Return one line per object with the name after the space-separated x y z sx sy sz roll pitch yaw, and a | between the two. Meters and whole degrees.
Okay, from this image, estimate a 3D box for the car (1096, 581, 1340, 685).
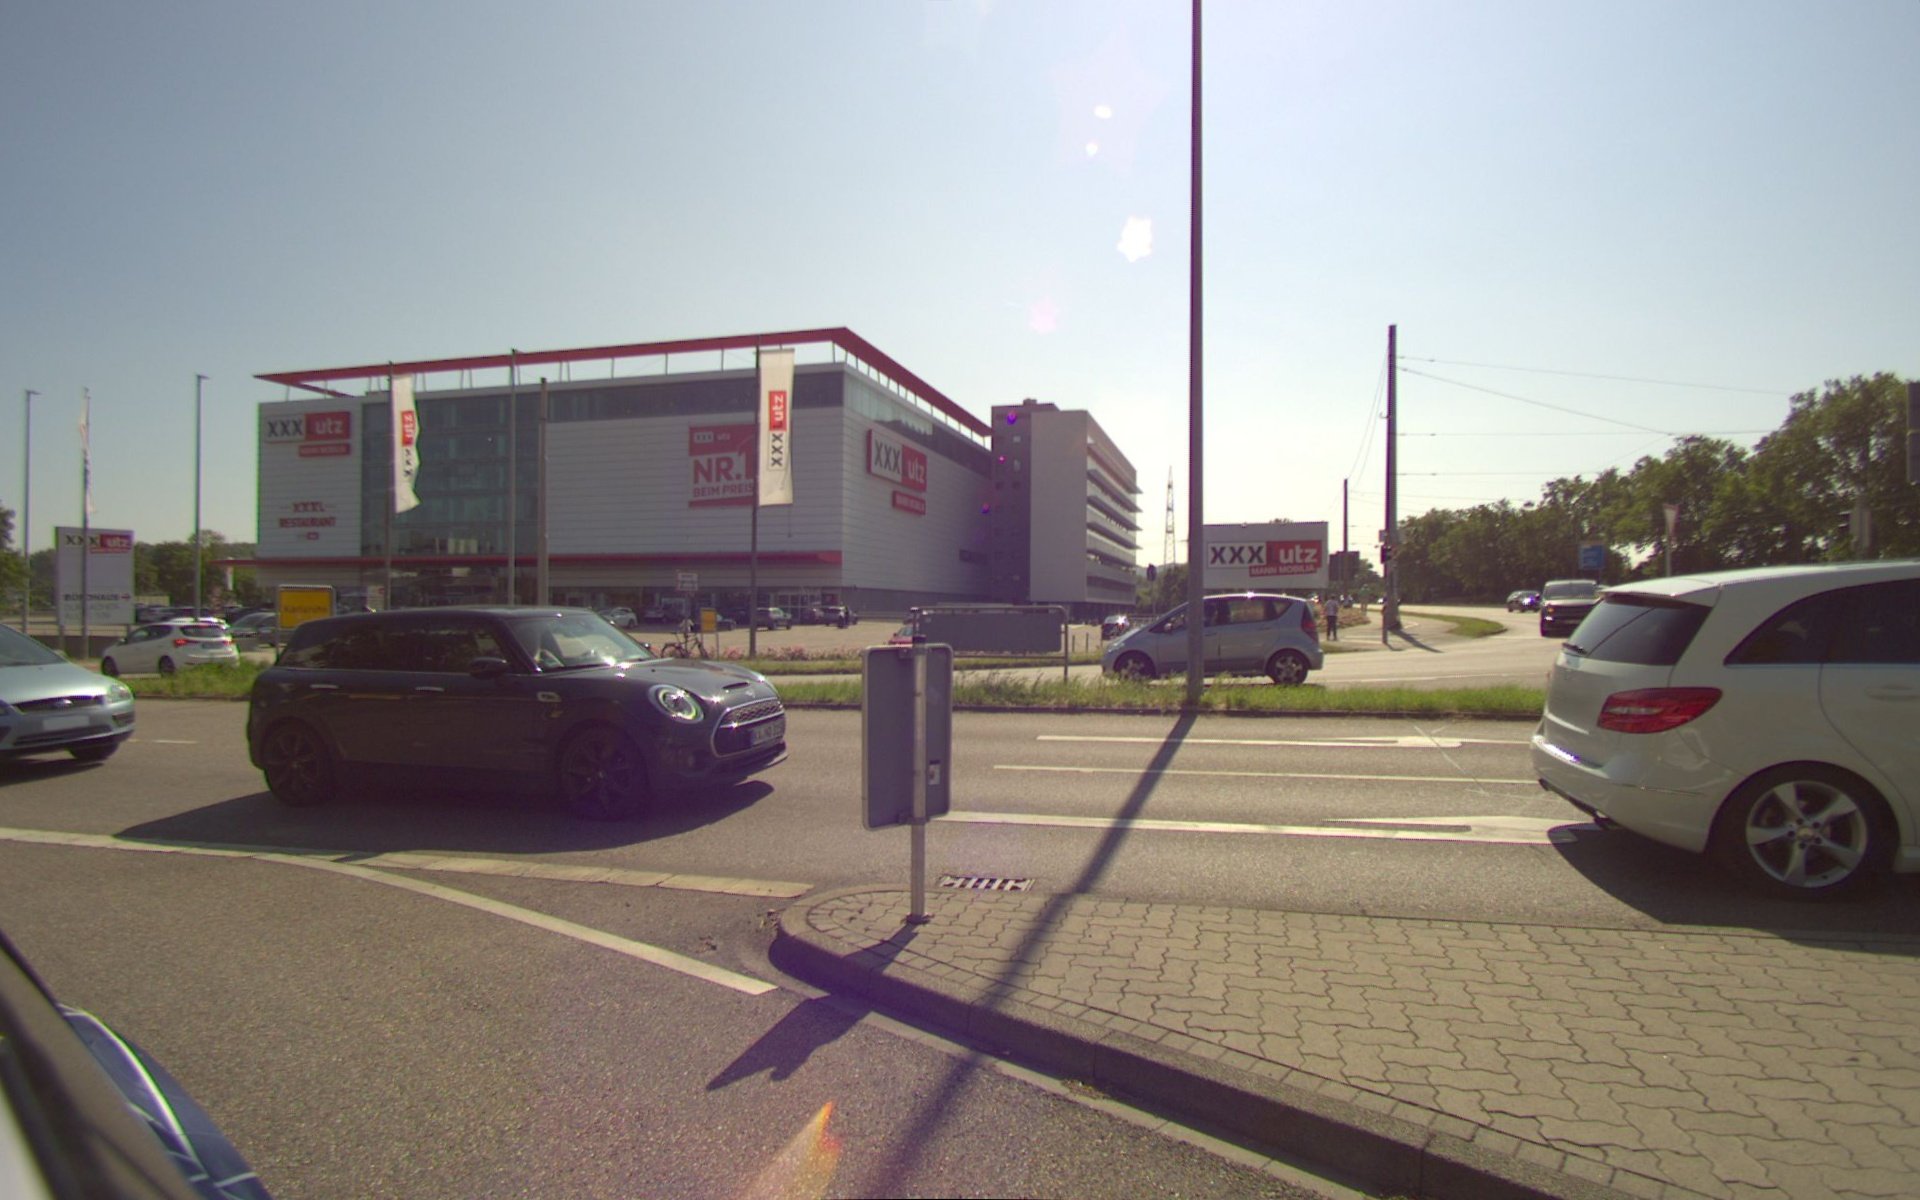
4.446 0.585 17.631 3.883 1.637 1.623 -2 -1 17 | car

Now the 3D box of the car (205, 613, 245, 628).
-68.005 1.905 93.662 1.284 1.340 2.809 0 0 15 | car

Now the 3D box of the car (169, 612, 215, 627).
-71.058 1.776 93.671 1.502 1.395 3.082 0 0 15 | car

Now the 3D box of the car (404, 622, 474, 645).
-34.443 2.190 67.006 1.502 1.340 4.481 0 0 15 | car

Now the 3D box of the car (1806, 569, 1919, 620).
28.340 -0.150 31.746 1.396 1.511 3.381 0 0 14 | car

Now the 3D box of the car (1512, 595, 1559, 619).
39.481 0.507 69.500 1.891 1.584 3.817 0 0 15 | car

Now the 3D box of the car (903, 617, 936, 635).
-3.331 2.154 84.316 1.736 1.340 3.656 0 0 15 | car

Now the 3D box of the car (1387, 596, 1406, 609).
57.406 0.329 133.070 1.617 1.637 3.768 -1 -1 14 | car

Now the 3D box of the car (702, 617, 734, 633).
-21.590 2.223 90.245 1.502 1.340 3.082 0 0 15 | car

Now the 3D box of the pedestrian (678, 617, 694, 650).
-15.707 1.923 57.989 0.772 1.909 0.499 2 -3 -43 | pedestrian

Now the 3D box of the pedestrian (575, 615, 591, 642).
-26.460 1.976 71.054 0.745 1.872 0.851 -1 -2 16 | pedestrian

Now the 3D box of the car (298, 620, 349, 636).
-52.122 2.257 82.970 1.467 1.208 3.493 0 0 15 | car

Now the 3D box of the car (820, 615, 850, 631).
-10.686 1.973 86.695 1.502 1.340 3.082 0 0 15 | car

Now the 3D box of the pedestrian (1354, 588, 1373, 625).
21.668 0.334 54.322 0.911 1.987 0.713 0 -1 21 | pedestrian

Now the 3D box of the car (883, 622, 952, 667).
-1.650 1.748 40.855 1.807 1.617 4.181 1 0 12 | car

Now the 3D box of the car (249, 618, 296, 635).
-58.029 2.255 85.466 1.502 1.340 3.082 0 0 15 | car

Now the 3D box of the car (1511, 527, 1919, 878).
5.258 0.404 4.758 4.349 1.459 1.738 -1 0 16 | car

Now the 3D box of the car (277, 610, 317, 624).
-66.073 1.707 100.917 1.502 1.340 3.082 0 0 15 | car

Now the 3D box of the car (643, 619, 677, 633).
-26.868 2.298 90.616 1.502 1.234 3.082 0 0 15 | car

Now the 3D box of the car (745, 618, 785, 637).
-14.547 2.044 75.632 1.763 1.340 3.082 0 0 15 | car

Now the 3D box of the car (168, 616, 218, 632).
-66.797 2.111 88.167 1.502 1.340 3.208 0 0 15 | car

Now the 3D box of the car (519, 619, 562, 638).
-31.870 2.170 76.936 1.502 1.340 3.082 0 0 15 | car

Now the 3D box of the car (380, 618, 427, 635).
-44.074 2.063 80.216 1.502 1.303 3.082 0 0 15 | car

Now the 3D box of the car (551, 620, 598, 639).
-28.998 2.225 76.247 1.576 1.340 3.395 -1 -1 18 | car

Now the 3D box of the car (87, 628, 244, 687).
-22.694 1.597 28.911 4.060 1.558 1.786 0 0 23 | car

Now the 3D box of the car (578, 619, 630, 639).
-26.632 2.143 75.847 1.502 1.340 4.293 0 0 15 | car

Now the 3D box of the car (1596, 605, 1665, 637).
34.613 1.087 52.342 1.746 1.532 3.980 -1 -1 15 | car

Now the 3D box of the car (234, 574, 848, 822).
-3.114 0.646 7.676 4.163 1.523 1.734 -1 -1 17 | car

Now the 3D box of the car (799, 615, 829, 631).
-12.678 2.003 88.044 1.502 1.340 3.082 0 0 15 | car

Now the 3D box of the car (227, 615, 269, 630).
-65.002 2.047 92.437 1.208 1.340 3.082 0 0 15 | car

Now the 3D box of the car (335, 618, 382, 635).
-48.482 2.131 81.615 1.502 1.340 3.082 0 0 15 | car

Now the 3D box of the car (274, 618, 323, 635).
-55.591 2.198 85.076 1.688 1.340 3.082 0 0 15 | car

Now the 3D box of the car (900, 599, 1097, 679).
0.537 0.528 13.755 2.472 1.012 1.114 -1 -1 19 | car

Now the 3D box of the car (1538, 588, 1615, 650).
21.467 0.628 35.172 1.814 1.940 3.949 -2 0 38 | car

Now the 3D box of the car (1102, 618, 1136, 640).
10.012 1.800 63.712 1.713 1.340 3.840 0 0 15 | car

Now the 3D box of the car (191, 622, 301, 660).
-36.671 2.072 52.130 1.928 1.856 4.404 0 -1 16 | car

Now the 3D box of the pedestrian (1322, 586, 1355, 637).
13.159 0.409 35.165 0.840 1.720 0.895 -2 -2 35 | pedestrian

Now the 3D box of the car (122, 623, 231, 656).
-41.504 2.060 53.734 1.853 1.640 4.407 0 -1 14 | car

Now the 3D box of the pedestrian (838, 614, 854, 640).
-9.043 2.162 80.351 0.967 2.029 0.944 -1 -2 17 | pedestrian

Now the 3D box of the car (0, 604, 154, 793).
-9.989 0.874 9.495 4.135 1.585 1.703 -1 0 15 | car

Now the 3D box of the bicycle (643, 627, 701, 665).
-8.358 1.326 29.378 1.627 1.030 0.330 1 -2 14 | bicycle

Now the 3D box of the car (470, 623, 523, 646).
-29.769 2.202 65.045 1.502 1.340 3.082 0 0 15 | car

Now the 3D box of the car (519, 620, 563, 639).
-31.798 2.218 76.839 1.502 1.340 3.082 0 0 15 | car

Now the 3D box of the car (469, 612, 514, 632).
-39.741 1.865 85.884 1.646 1.642 3.559 -1 -1 12 | car

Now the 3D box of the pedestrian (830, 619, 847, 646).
-9.505 2.530 79.088 0.967 2.029 0.944 -1 -1 17 | pedestrian

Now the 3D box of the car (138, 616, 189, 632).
-69.367 2.042 88.157 1.502 1.340 3.208 0 0 15 | car
